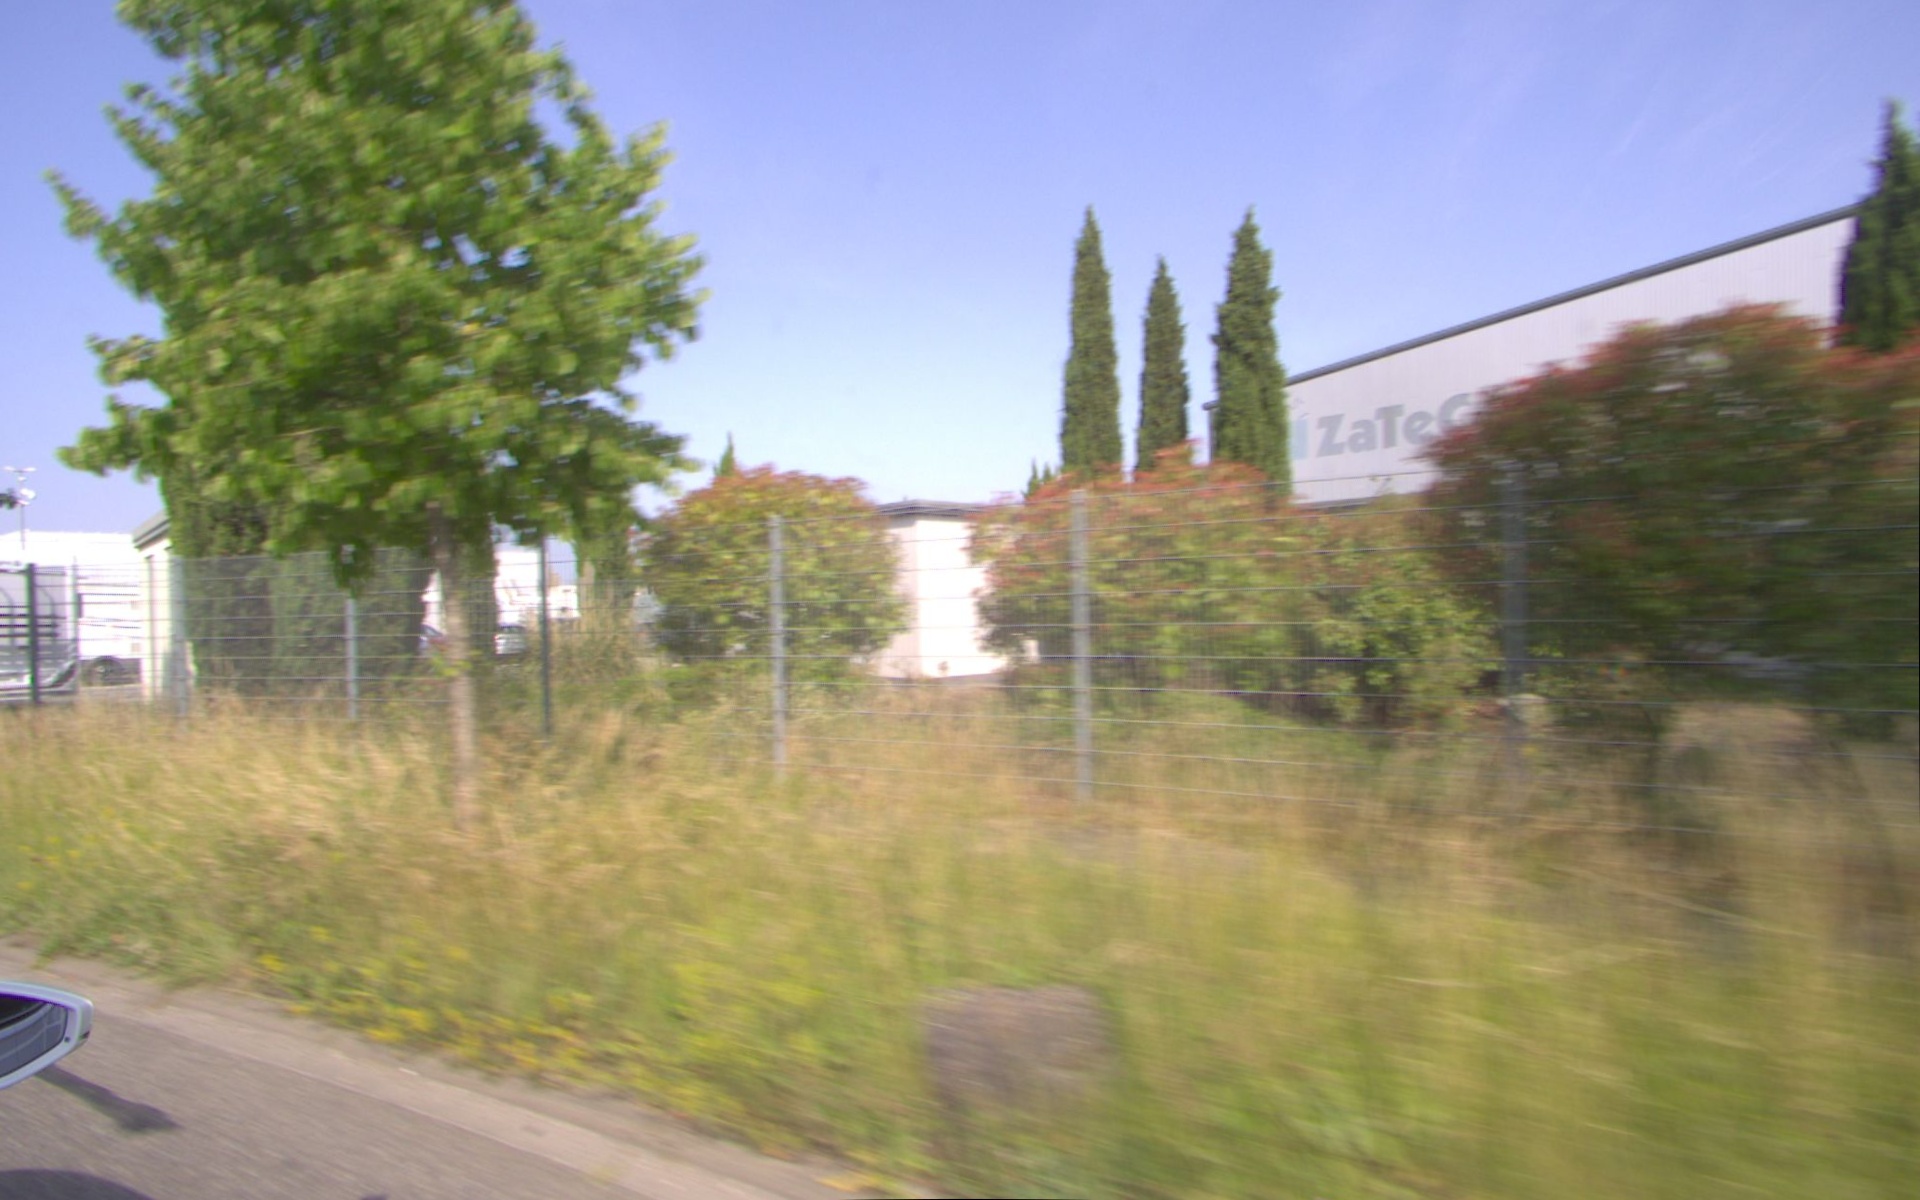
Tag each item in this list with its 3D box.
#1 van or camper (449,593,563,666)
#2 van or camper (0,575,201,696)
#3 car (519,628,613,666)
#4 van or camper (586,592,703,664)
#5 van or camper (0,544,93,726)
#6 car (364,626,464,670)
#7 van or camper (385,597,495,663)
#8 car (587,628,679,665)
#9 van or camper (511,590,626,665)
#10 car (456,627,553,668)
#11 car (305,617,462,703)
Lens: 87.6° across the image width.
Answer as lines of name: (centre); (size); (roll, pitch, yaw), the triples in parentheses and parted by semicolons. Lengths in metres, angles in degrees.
van or camper: (-19.632, 1.294, 43.091); (2.306, 2.901, 6.544); (-1, -1, -45)
van or camper: (-25.030, 0.939, 26.724); (2.556, 3.071, 7.224); (-1, -1, 40)
car: (-15.055, 1.769, 38.150); (3.954, 1.397, 1.703); (-2, -3, 41)
van or camper: (-14.960, 1.346, 47.214); (2.469, 3.169, 6.544); (-1, -1, -45)
van or camper: (-18.661, 0.629, 17.034); (7.208, 2.885, 2.354); (-1, -1, 16)
car: (-18.571, 1.604, 34.028); (3.954, 1.397, 1.703); (-2, -3, 41)
van or camper: (-21.833, 1.278, 41.884); (2.204, 2.557, 6.544); (-1, -1, -45)
car: (-13.054, 1.841, 39.886); (3.954, 1.397, 1.703); (-2, -3, 41)
van or camper: (-17.924, 1.272, 45.621); (2.469, 3.169, 6.544); (-1, -1, -45)
car: (-16.538, 1.695, 36.317); (3.954, 1.397, 1.703); (-2, -3, 41)
car: (-12.262, 1.206, 21.194); (3.955, 1.664, 1.714); (-1, -2, 42)
